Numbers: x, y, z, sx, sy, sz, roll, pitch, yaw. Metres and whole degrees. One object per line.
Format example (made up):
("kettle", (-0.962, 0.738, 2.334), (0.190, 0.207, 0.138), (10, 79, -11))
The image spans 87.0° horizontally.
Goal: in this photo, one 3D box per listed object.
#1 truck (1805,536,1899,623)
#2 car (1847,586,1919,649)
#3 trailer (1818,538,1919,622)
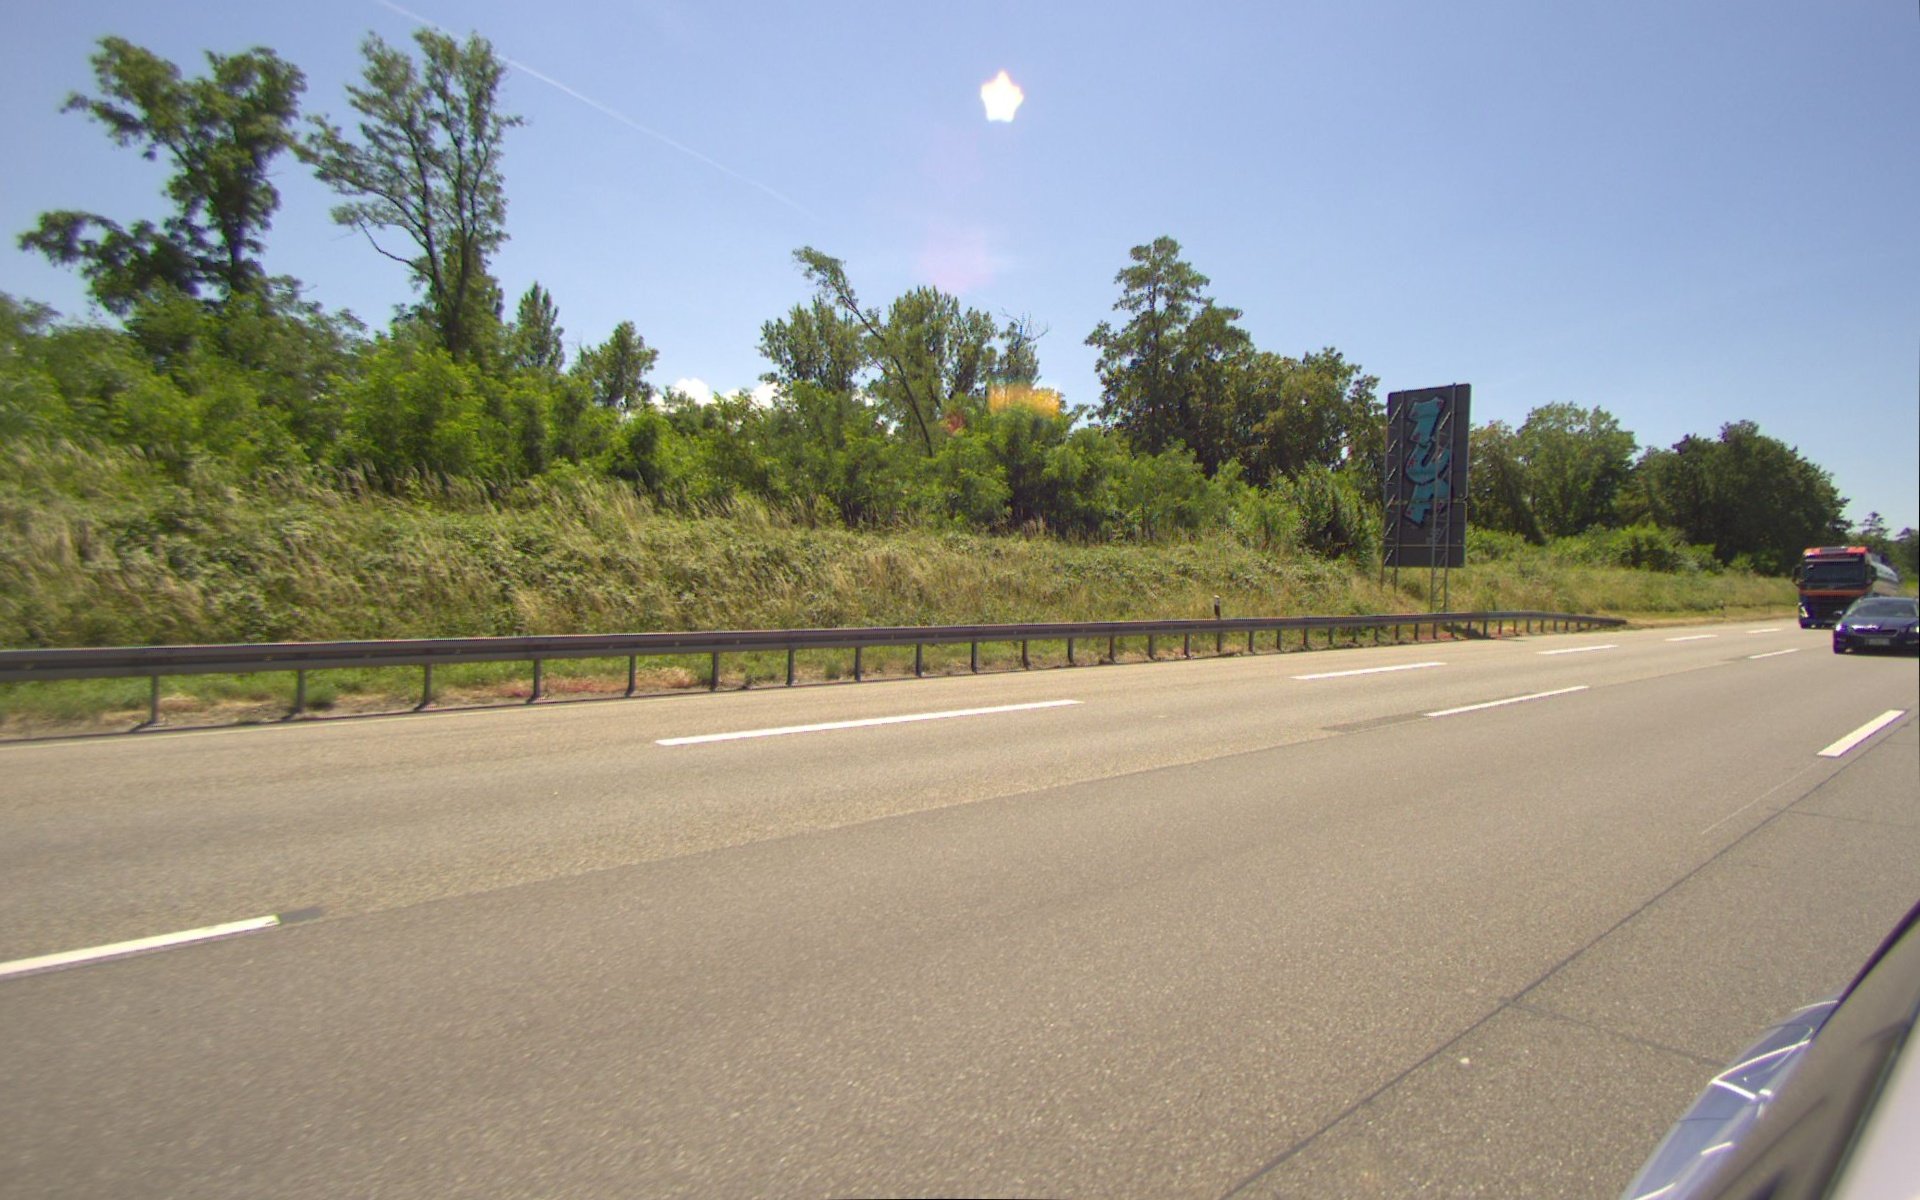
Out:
("truck", (41.280, -0.919, 46.775), (5.992, 3.781, 2.533), (0, 0, -41))
("car", (24.258, 0.405, 25.946), (4.198, 1.502, 1.804), (0, 0, -42))
("trailer", (45.564, -0.948, 50.517), (11.348, 3.781, 2.533), (0, 0, -41))
